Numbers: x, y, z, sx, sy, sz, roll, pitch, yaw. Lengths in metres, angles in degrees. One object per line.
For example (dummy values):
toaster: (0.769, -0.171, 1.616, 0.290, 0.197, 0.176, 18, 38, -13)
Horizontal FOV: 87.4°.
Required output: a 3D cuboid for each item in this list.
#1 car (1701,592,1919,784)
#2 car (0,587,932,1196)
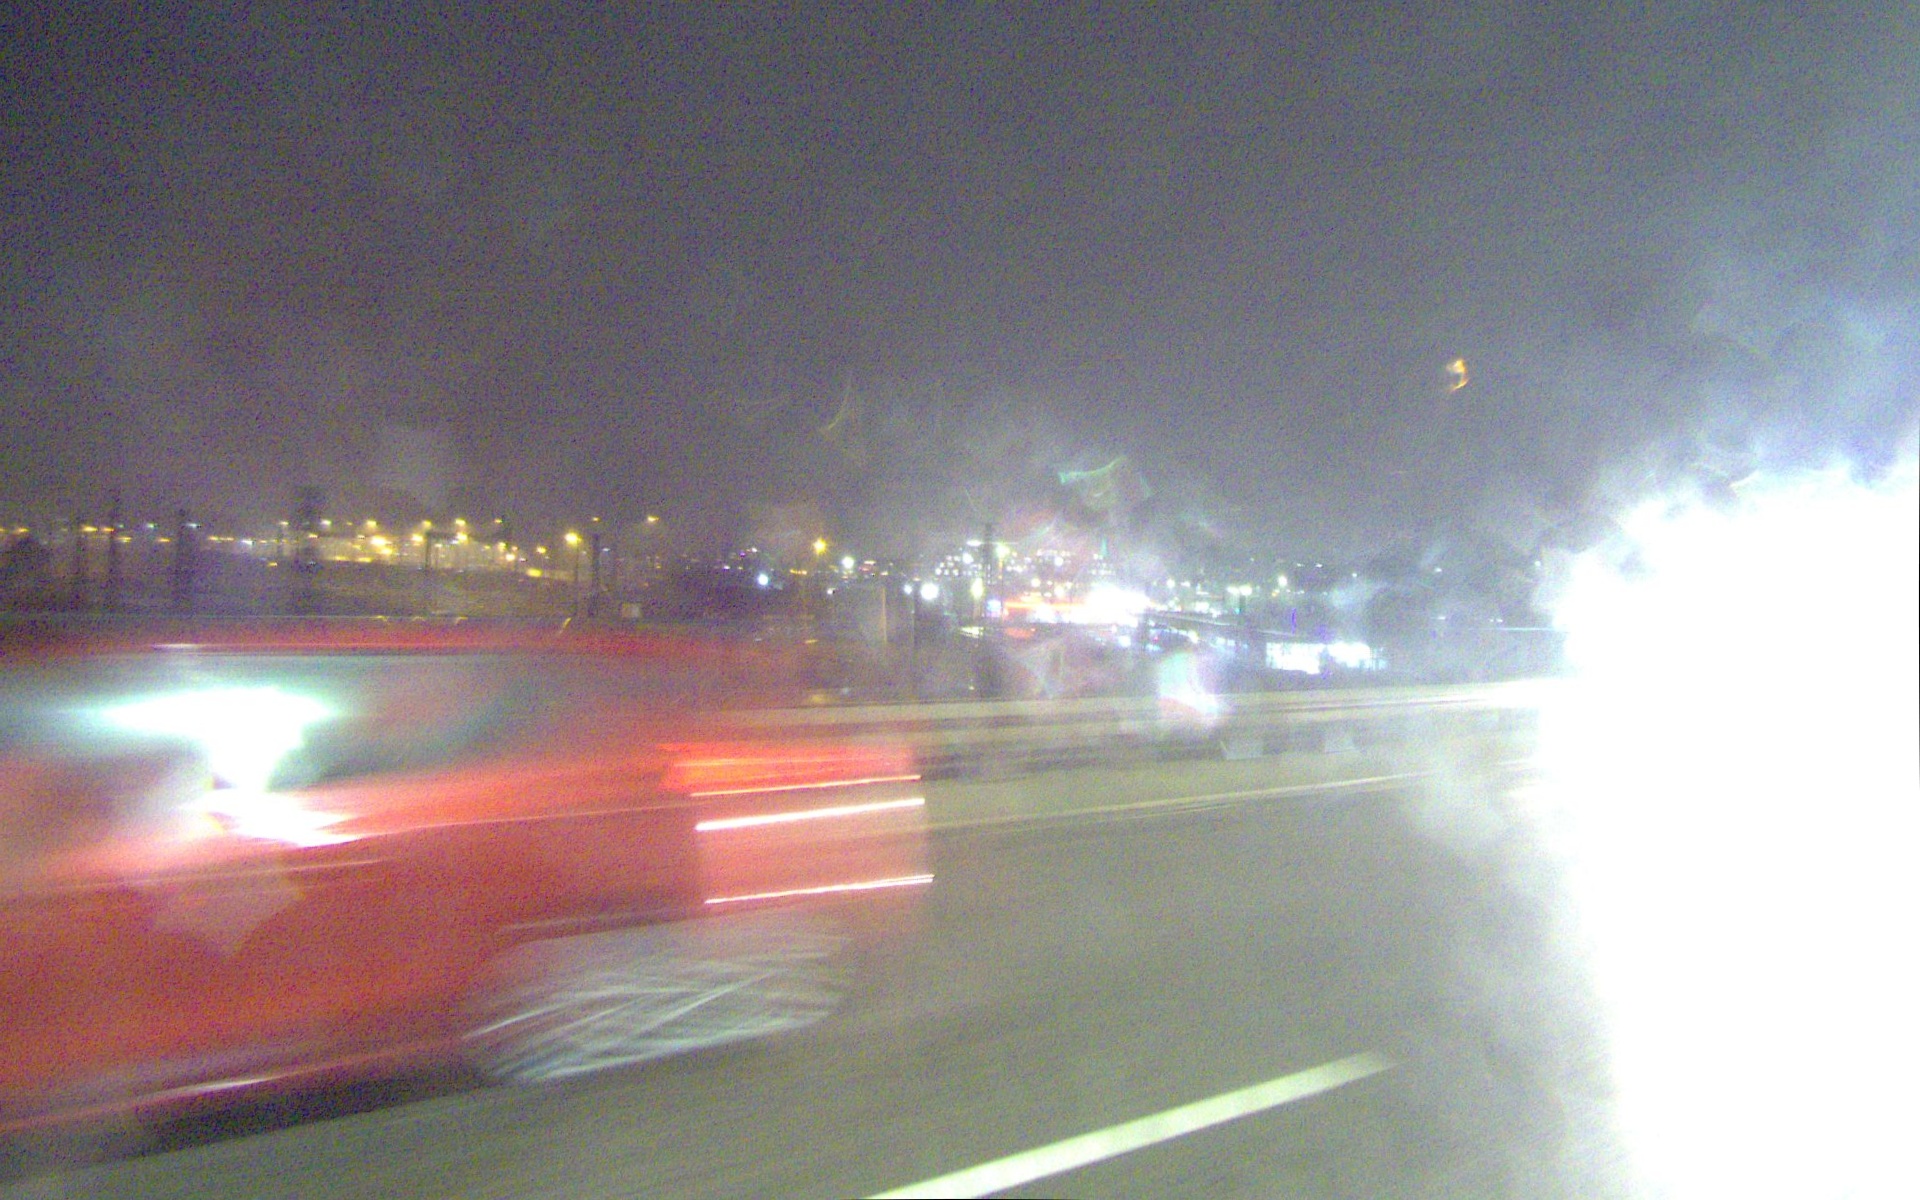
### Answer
car: (10.448, 0.912, 11.712, 3.960, 1.885, 1.743, 1, -2, -35)
car: (-2.271, 0.698, 3.370, 3.998, 1.423, 1.807, 0, -1, -29)
